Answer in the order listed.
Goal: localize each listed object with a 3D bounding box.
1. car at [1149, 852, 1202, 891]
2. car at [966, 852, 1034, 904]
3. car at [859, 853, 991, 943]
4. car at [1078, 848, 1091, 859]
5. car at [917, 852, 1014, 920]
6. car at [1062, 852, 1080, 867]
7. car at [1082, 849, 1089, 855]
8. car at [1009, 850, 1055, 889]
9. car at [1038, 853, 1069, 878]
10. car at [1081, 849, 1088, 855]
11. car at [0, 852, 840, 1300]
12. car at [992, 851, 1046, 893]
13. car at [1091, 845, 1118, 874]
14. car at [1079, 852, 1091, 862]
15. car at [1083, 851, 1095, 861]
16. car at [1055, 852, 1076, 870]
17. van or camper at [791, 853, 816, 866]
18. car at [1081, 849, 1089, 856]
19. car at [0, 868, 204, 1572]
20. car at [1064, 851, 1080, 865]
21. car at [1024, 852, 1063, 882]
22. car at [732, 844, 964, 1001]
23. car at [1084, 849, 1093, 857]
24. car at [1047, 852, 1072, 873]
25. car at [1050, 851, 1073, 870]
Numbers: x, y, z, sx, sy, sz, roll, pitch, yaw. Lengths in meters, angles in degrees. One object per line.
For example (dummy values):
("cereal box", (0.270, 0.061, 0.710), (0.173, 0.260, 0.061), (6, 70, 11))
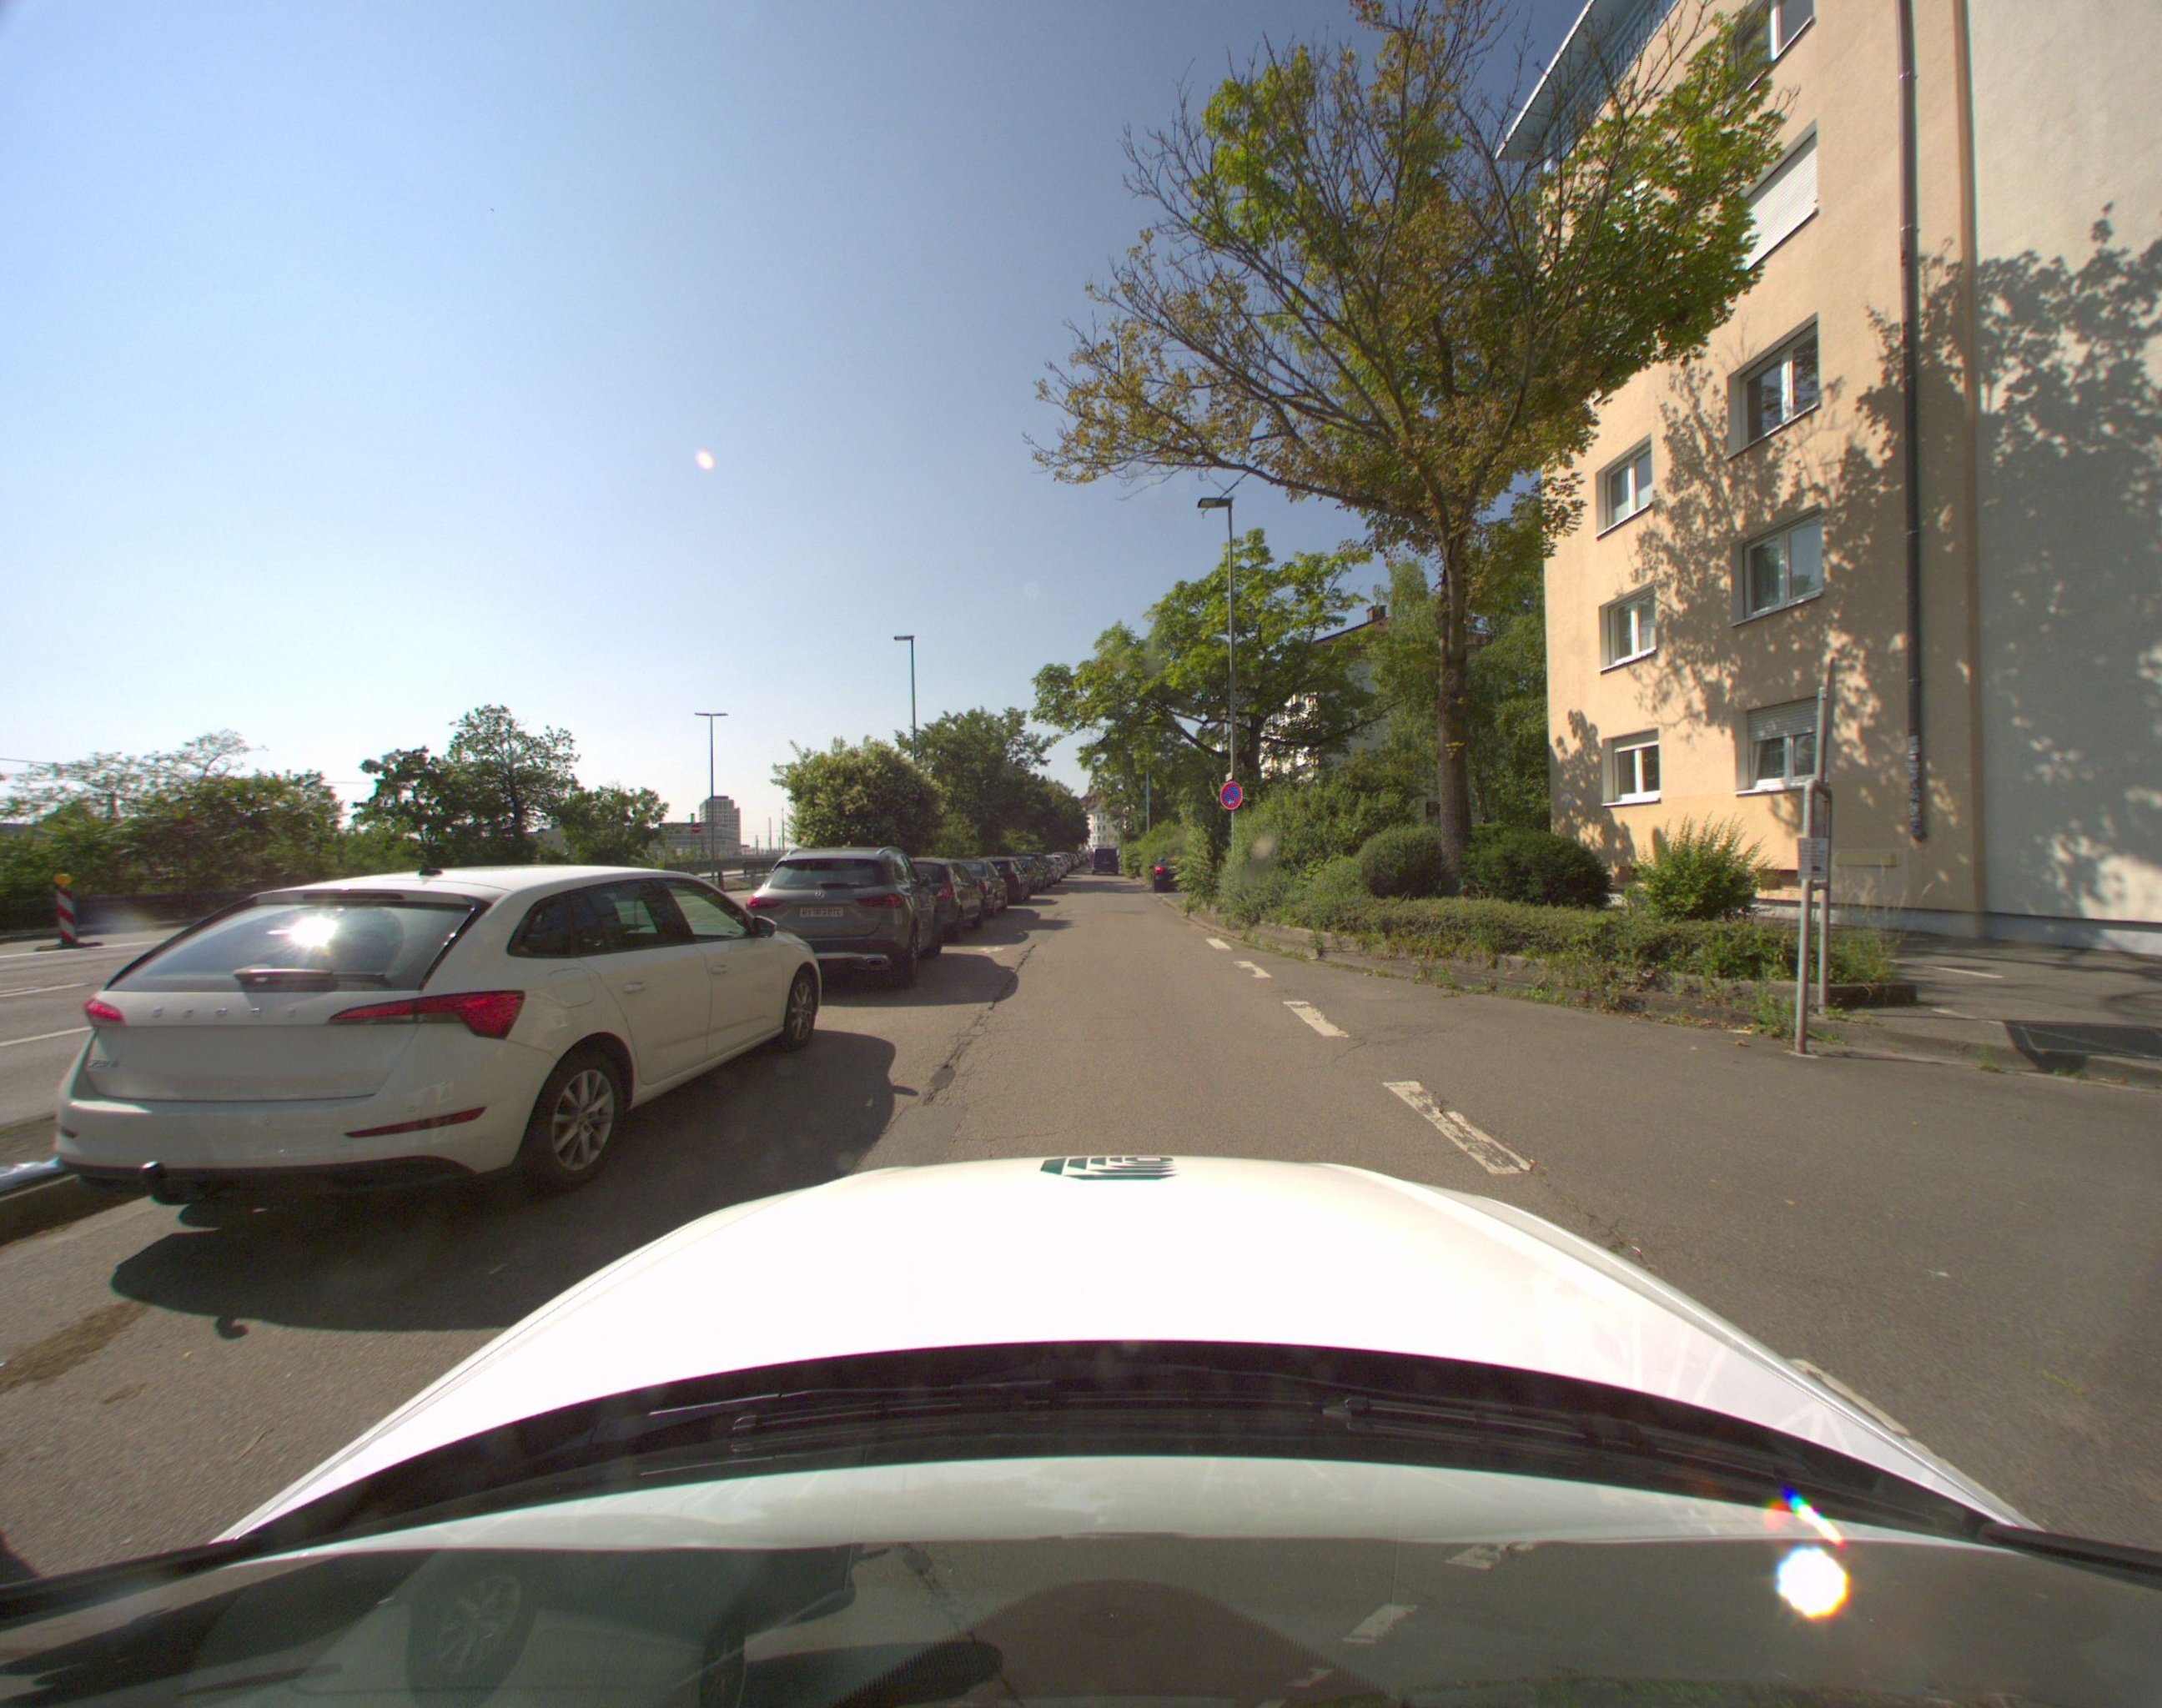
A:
("car", (3.760, 0.670, 32.988), (1.720, 1.420, 4.001), (-2, 0, 1))
("car", (-2.515, 0.701, 26.043), (1.657, 1.473, 3.791), (1, 0, 2))
("car", (-2.841, 0.735, 15.669), (1.657, 1.474, 3.878), (0, 0, 2))
("car", (0.512, -0.042, 112.690), (1.657, 1.509, 4.010), (0, 0, 2))
("car", (-2.840, 0.723, 20.983), (1.657, 1.511, 4.596), (1, 0, 2))
("car", (-1.002, 0.566, 85.253), (1.657, 1.509, 4.010), (1, 0, 2))
("car", (1.185, -0.468, 211.409), (1.987, 1.657, 3.741), (-1, 0, 1))
("car", (-2.137, 0.631, 36.638), (1.657, 1.583, 3.934), (-1, 1, 2))
("car", (-1.715, 0.679, 52.097), (1.657, 1.468, 4.203), (1, 0, 2))
("car", (0.926, -0.509, 216.009), (1.987, 1.657, 3.741), (-1, 0, 1))
("car", (-2.998, 0.762, 4.902), (1.715, 1.505, 4.134), (1, 0, 2))
("car", (-2.377, 0.662, 31.982), (1.657, 1.511, 3.791), (1, 0, 2))
("car", (1.690, 0.364, 58.589), (1.876, 1.921, 4.010), (1, 0, 2))
("car", (0.741, 0.530, 138.244), (1.987, 1.657, 4.000), (-1, 0, 1))
("car", (1.471, 0.360, 148.039), (1.987, 1.657, 4.000), (-1, 0, 1))
("car", (-1.356, 0.617, 73.921), (1.657, 1.509, 4.010), (1, 0, 2))
("van or camper", (-30.260, 0.540, 88.854), (1.464, 1.350, 4.623), (-1, 0, -4))
("car", (1.040, -0.341, 202.944), (1.987, 1.657, 4.000), (-1, 0, 1))
("car", (-3.180, 0.805, 0.427), (1.613, 1.505, 3.463), (0, 0, 2))
("car", (-1.001, 0.465, 95.772), (1.657, 1.509, 4.010), (1, 0, 2))
("car", (-1.889, 0.647, 41.996), (1.657, 1.406, 4.321), (1, 0, 2))
("car", (-2.719, 0.688, 10.556), (1.766, 1.579, 4.185), (-1, 1, 0))
("car", (1.782, -0.224, 190.907), (1.987, 1.657, 4.000), (-1, 0, 1))
("car", (-1.634, 0.601, 62.981), (1.657, 1.509, 4.203), (-1, 0, 2))
("car", (-1.593, 0.524, 68.422), (1.657, 1.509, 4.010), (1, 0, 2))
